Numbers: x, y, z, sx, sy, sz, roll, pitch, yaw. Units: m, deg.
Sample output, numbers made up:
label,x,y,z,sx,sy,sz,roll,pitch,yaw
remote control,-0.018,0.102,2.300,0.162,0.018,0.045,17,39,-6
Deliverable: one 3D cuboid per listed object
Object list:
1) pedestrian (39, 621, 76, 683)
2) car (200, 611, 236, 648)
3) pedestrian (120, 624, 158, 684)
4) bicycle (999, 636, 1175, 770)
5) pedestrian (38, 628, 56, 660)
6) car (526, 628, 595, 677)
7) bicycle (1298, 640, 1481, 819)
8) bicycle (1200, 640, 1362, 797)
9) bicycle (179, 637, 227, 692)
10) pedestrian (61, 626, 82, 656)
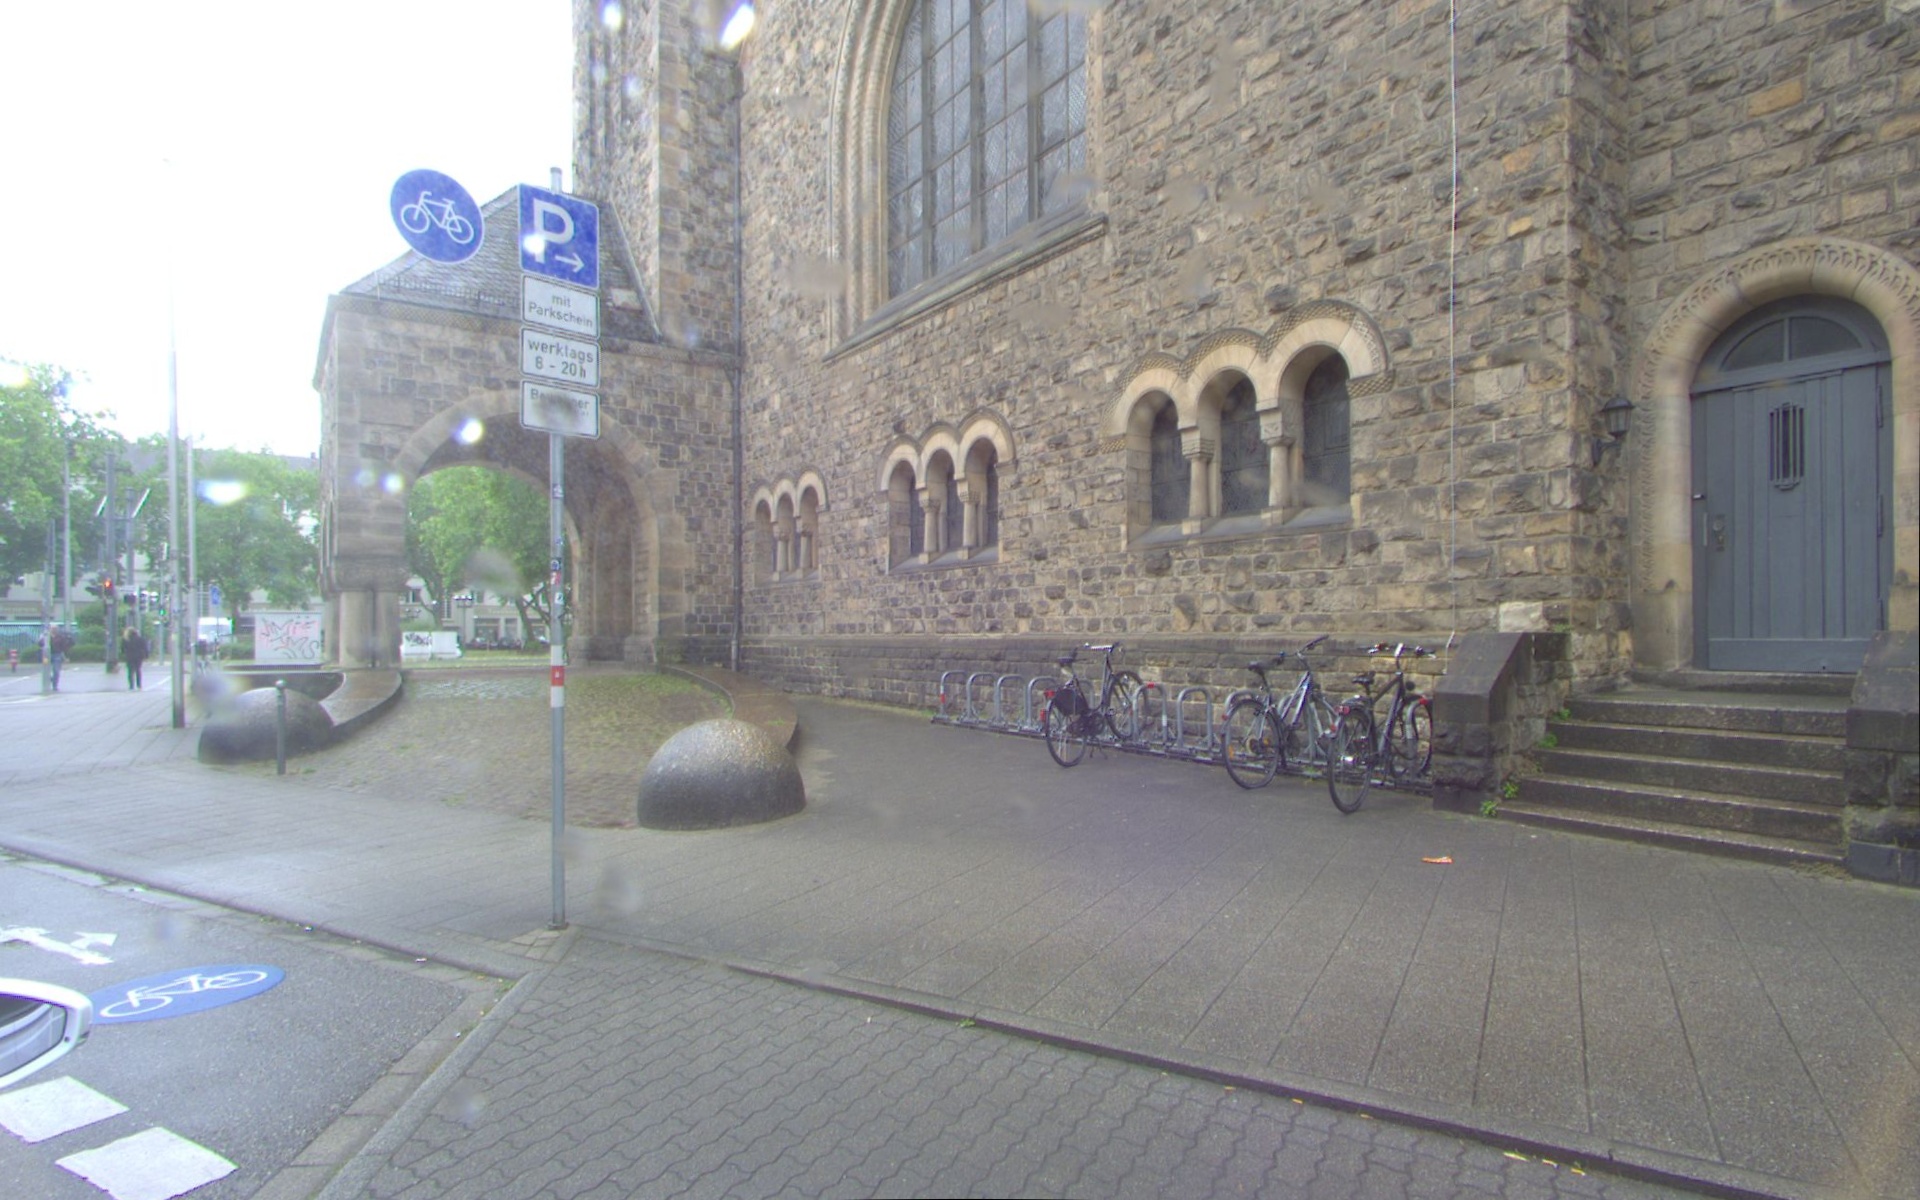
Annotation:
label,x,y,z,sx,sy,sz,roll,pitch,yaw
pedestrian,-26.241,1.493,29.098,0.780,1.782,0.936,0,0,-43
car,-53.690,2.132,72.519,1.888,2.588,4.757,0,-1,-34
pedestrian,-23.413,1.522,28.575,0.775,1.667,0.651,0,0,-34
bicycle,1.299,0.957,9.901,0.684,1.119,1.973,-1,0,43
pedestrian,-46.705,2.248,51.205,0.607,1.624,0.491,0,-1,-34
car,-12.788,1.631,31.984,1.389,1.498,3.200,1,-2,-34
bicycle,3.187,0.868,7.320,1.971,1.068,0.507,-2,0,-45
bicycle,2.733,0.935,8.423,1.697,1.126,0.556,-2,0,-45
bicycle,-16.628,1.395,21.979,2.049,1.169,0.327,-1,-1,38
pedestrian,-46.805,2.179,52.735,0.666,1.573,0.758,0,-2,-30
